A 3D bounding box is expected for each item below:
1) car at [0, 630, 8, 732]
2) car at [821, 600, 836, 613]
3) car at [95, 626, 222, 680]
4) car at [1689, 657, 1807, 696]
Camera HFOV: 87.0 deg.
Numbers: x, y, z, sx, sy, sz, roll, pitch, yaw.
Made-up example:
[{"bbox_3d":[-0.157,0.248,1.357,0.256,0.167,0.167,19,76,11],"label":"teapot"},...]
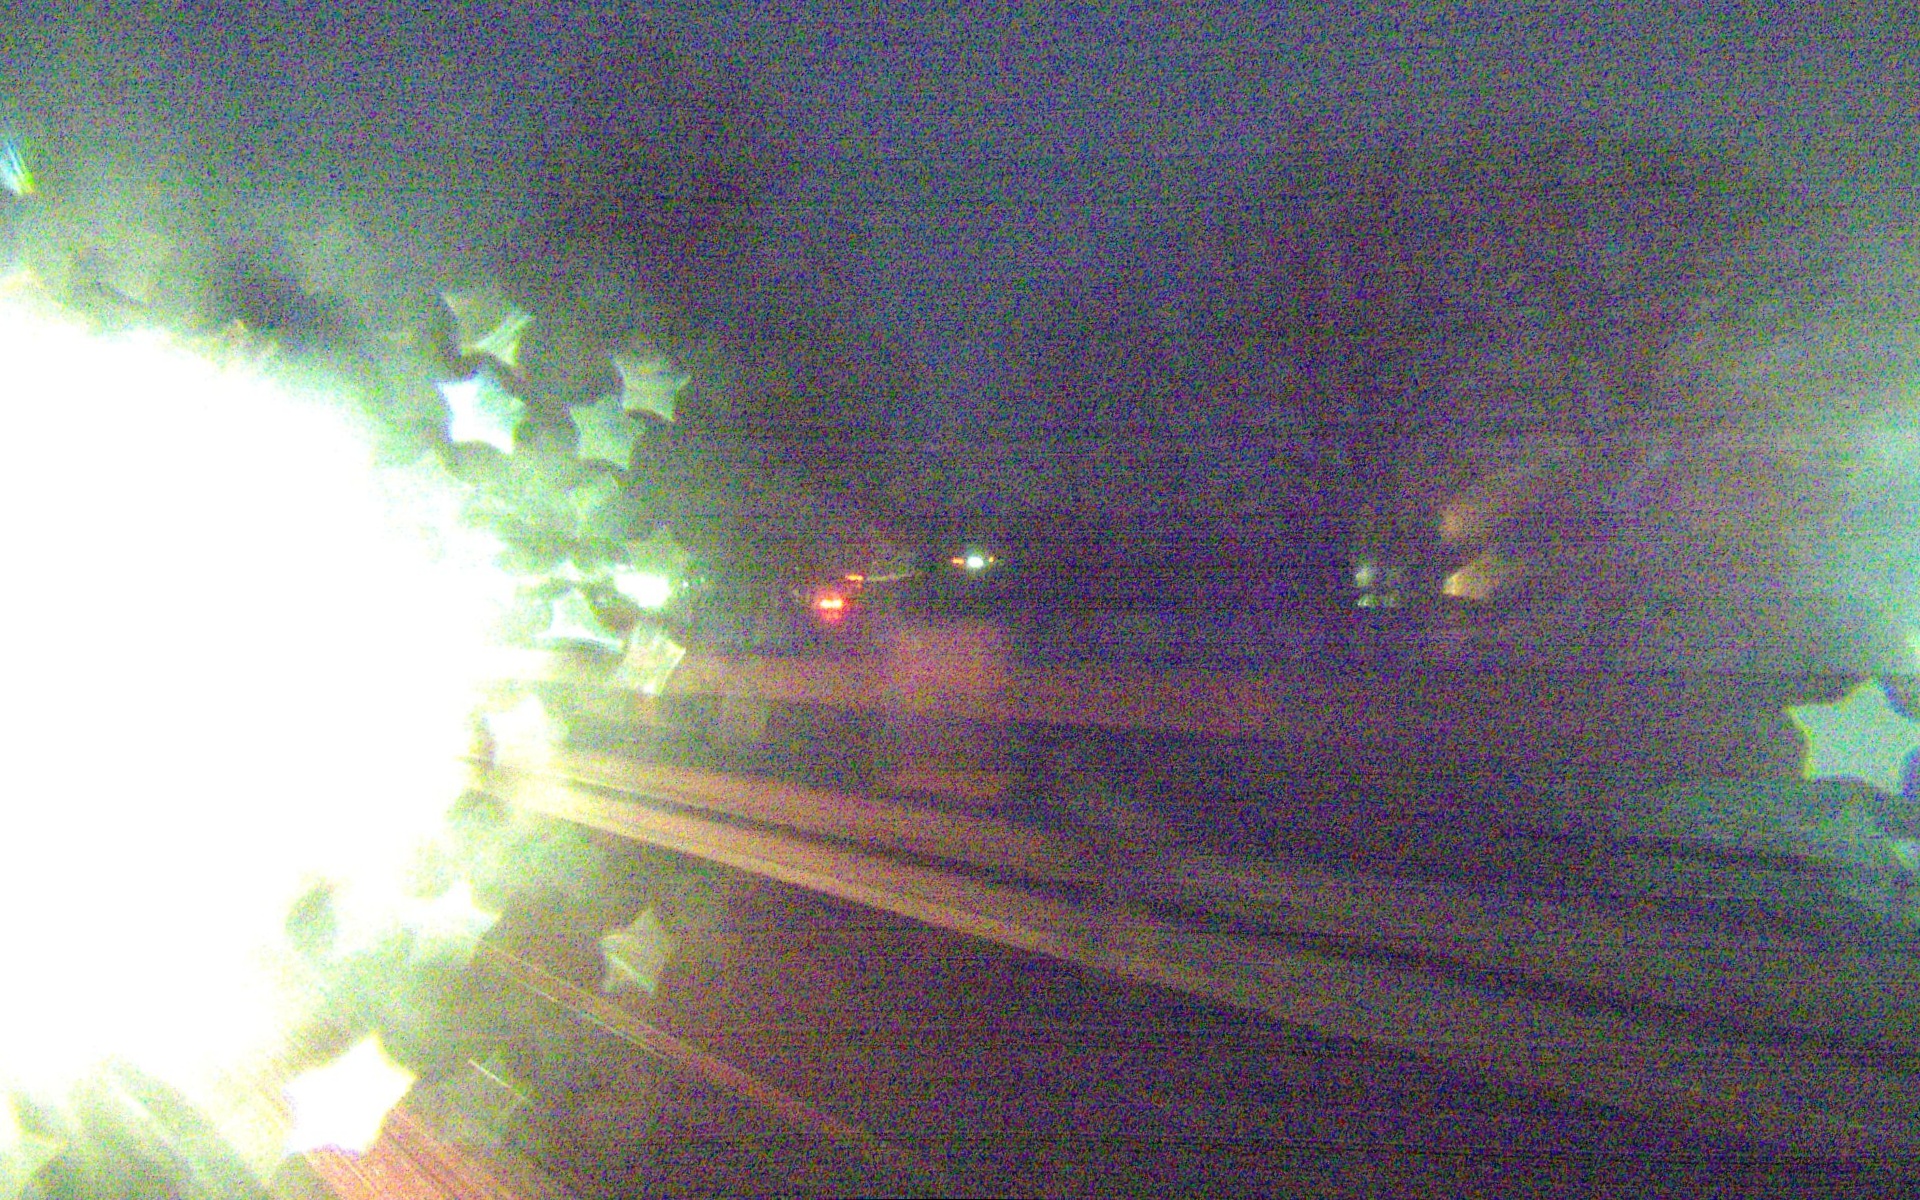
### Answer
[{"bbox_3d":[-13.504,1.113,12.745,1.660,1.462,3.651,1,-2,-35],"label":"car"},{"bbox_3d":[-15.033,0.737,115.605,1.481,1.438,3.439,1,1,-11],"label":"car"},{"bbox_3d":[-21.427,1.364,27.232,1.731,1.322,4.099,0,-1,-25],"label":"car"},{"bbox_3d":[38.754,3.745,49.835,4.190,1.765,1.921,0,0,4],"label":"car"}]
